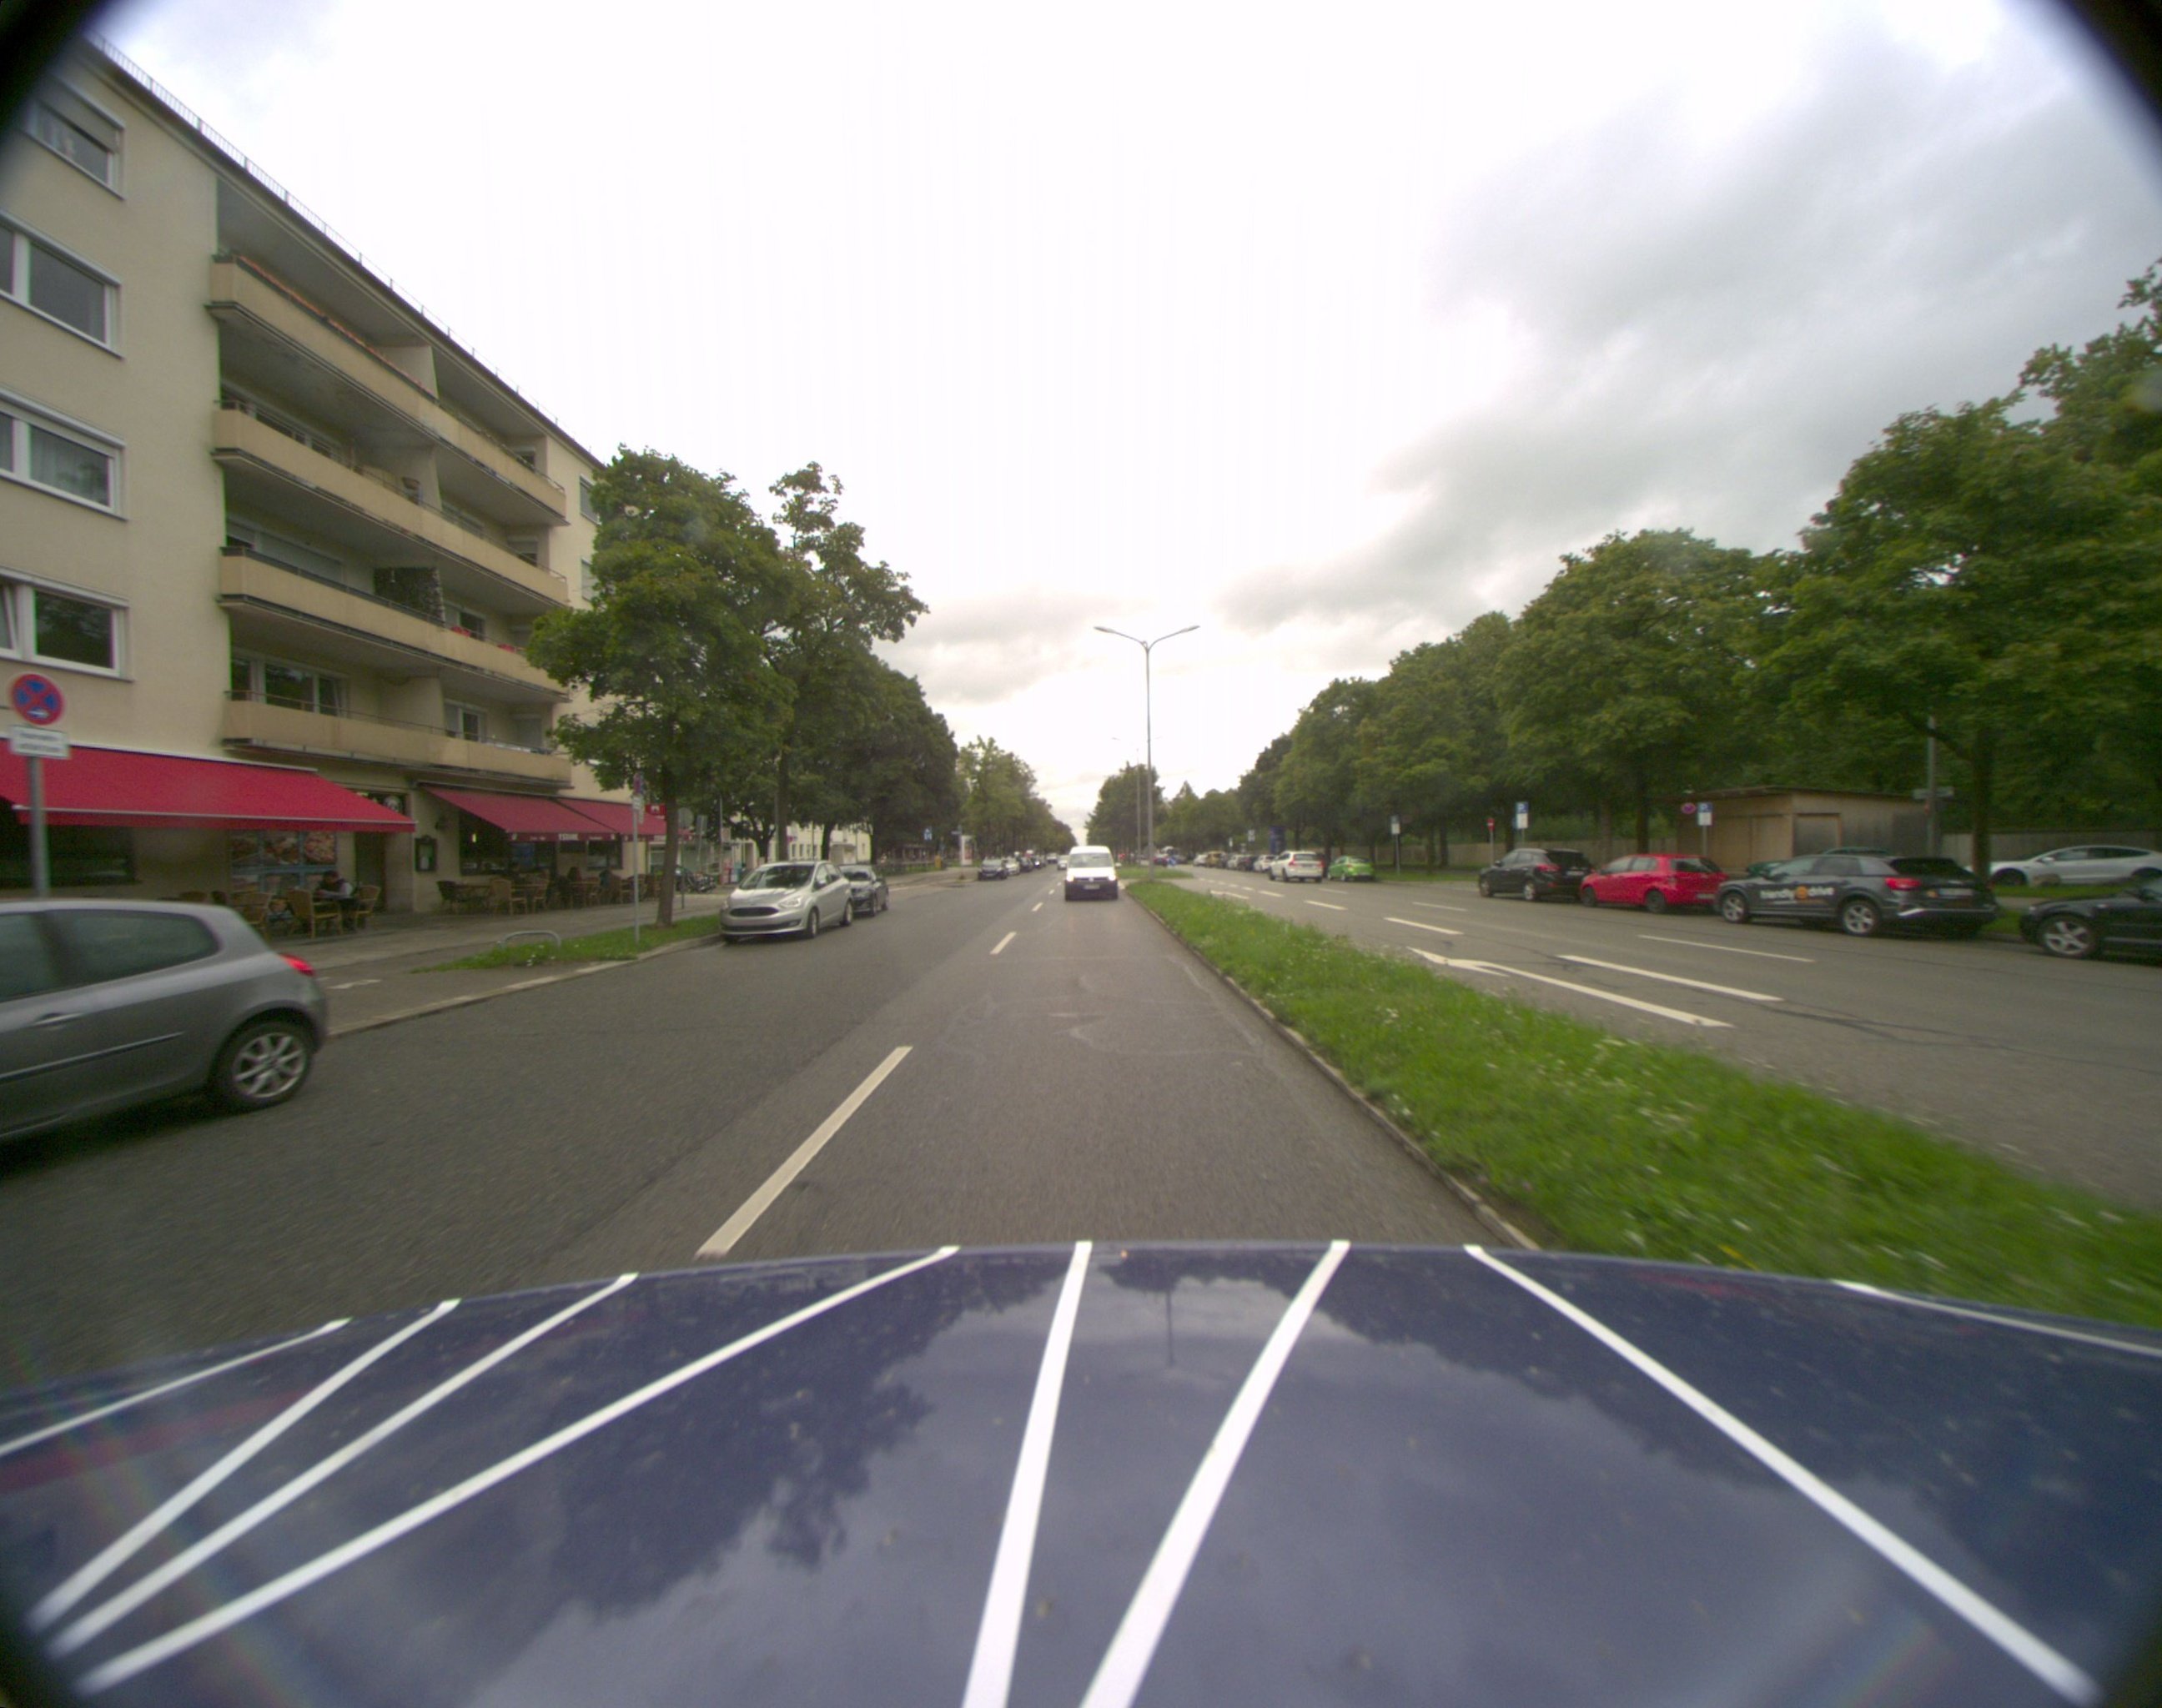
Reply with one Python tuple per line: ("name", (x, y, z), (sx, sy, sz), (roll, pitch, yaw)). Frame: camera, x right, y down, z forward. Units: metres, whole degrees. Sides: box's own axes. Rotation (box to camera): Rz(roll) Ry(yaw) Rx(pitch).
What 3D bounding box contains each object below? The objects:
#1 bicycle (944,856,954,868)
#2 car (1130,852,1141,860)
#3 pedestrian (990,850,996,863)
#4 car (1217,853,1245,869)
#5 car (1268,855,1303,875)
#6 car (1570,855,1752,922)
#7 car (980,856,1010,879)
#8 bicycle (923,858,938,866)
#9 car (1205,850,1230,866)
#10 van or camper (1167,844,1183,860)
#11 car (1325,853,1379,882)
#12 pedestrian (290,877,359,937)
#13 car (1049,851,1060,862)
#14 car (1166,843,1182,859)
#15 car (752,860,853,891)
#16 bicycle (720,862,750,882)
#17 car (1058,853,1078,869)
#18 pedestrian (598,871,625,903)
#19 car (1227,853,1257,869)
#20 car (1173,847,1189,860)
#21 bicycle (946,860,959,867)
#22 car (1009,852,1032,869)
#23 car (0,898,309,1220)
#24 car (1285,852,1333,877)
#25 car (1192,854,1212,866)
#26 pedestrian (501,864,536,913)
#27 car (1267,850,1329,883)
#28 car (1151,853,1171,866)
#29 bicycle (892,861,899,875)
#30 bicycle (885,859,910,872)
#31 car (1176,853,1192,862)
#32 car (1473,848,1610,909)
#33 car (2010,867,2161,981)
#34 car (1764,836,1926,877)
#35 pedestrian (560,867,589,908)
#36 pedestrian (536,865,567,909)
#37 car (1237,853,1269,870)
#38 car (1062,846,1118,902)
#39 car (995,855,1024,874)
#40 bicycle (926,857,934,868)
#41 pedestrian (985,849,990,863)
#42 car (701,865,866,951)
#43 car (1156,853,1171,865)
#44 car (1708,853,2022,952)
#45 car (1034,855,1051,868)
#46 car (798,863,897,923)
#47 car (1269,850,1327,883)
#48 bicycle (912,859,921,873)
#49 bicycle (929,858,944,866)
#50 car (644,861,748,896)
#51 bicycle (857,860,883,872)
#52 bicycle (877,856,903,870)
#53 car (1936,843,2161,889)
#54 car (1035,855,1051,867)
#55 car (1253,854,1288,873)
("bicycle", (-13.110, 0.782, 75.264), (0.545, 1.182, 2.076), (-1, 0, 1))
("car", (10.064, 0.360, 141.311), (1.826, 1.580, 4.501), (-1, 0, 1))
("pedestrian", (-11.340, 0.338, 97.735), (0.560, 1.595, 0.519), (-1, 1, -19))
("car", (15.484, 0.694, 78.812), (2.007, 1.607, 4.041), (0, 0, -2))
("car", (15.112, 0.778, 56.426), (1.654, 1.414, 3.687), (2, 0, 1))
("car", (14.894, 0.815, 19.808), (1.826, 1.471, 3.808), (-1, 1, -1))
("car", (-5.839, 0.879, 51.850), (1.648, 1.468, 3.956), (-2, 0, -1))
("bicycle", (-16.335, 0.867, 82.457), (1.599, 0.910, 0.498), (-1, 1, -4))
("car", (15.244, 0.406, 84.883), (1.862, 1.761, 4.533), (0, 0, -2))
("van or camper", (16.649, -0.286, 135.123), (1.999, 2.791, 4.931), (0, 0, -2))
("car", (14.945, 0.724, 42.100), (1.644, 1.490, 4.000), (1, 0, 2))
("pedestrian", (-15.180, 1.054, 15.259), (0.745, 1.156, 0.646), (1, 1, 0))
("car", (-4.959, 0.530, 140.864), (1.827, 1.939, 4.300), (-1, 0, 1))
("car", (15.821, -0.475, 129.006), (1.999, 2.576, 4.499), (0, 0, -2))
("car", (-13.726, 1.047, 37.613), (4.215, 1.434, 2.001), (-1, 0, 10))
("bicycle", (-20.639, 1.073, 45.365), (1.473, 1.149, 0.699), (-1, 1, -1))
("car", (-1.320, 0.735, 79.385), (1.984, 1.591, 4.402), (1, 0, 1))
("pedestrian", (-15.464, 1.084, 25.029), (0.539, 1.048, 0.487), (-1, 1, 1))
("car", (15.290, 0.674, 72.347), (1.826, 1.461, 4.300), (0, 0, -2))
("car", (15.929, -0.044, 121.473), (1.998, 2.002, 4.000), (-1, 0, 0))
("bicycle", (-15.171, 1.133, 89.576), (1.392, 0.709, 0.498), (1, 1, -4))
("car", (-5.721, 0.564, 72.411), (1.826, 1.502, 4.157), (-1, 0, 0))
("car", (-6.319, 1.087, 3.413), (1.834, 1.513, 3.770), (-1, 0, -1))
("car", (15.088, 0.659, 50.517), (1.826, 1.621, 4.456), (0, 0, 0))
("car", (15.227, 0.754, 95.524), (1.717, 1.434, 4.041), (0, 0, -2))
("pedestrian", (-15.741, 0.954, 21.262), (0.539, 1.331, 0.552), (-1, 1, 0))
("car", (11.468, 0.619, 40.479), (2.030, 1.610, 4.683), (0, 0, 1))
("car", (9.279, 0.655, 88.427), (1.820, 1.440, 4.781), (0, 0, 0))
("bicycle", (-13.467, 0.988, 55.021), (0.449, 1.009, 1.850), (-1, 0, -15))
("bicycle", (-16.188, 0.983, 66.907), (2.032, 1.061, 0.663), (-1, 1, -4))
("car", (15.777, 0.566, 116.682), (1.717, 1.401, 4.041), (0, 0, -2))
("car", (14.655, 0.706, 24.512), (1.826, 1.690, 4.238), (-1, 1, -1))
("car", (14.509, 0.909, 9.139), (1.825, 1.401, 4.000), (1, 0, 3))
("car", (27.797, 0.103, 27.847), (3.848, 1.401, 1.863), (-1, 0, 31))
("pedestrian", (-15.648, 1.029, 23.469), (0.539, 1.207, 0.487), (-1, 1, 1))
("pedestrian", (-15.654, 0.973, 22.480), (0.539, 1.261, 0.487), (-1, 1, 0))
("car", (15.175, 0.632, 67.151), (1.826, 1.438, 3.787), (2, 0, -2))
("car", (0.303, 0.650, 27.391), (1.772, 1.742, 4.545), (-3, 0, 0))
("car", (-5.851, 0.833, 62.352), (1.826, 1.428, 4.287), (-3, 0, 1))
("bicycle", (-15.227, 0.830, 76.488), (0.466, 1.110, 1.253), (-1, 1, 1))
("pedestrian", (-11.997, 0.225, 97.614), (0.560, 1.745, 0.656), (-1, 1, -19))
("car", (-6.253, 1.049, 16.599), (1.834, 1.513, 4.523), (-1, 0, -1))
("car", (11.851, 0.701, 109.259), (1.826, 1.544, 3.721), (-1, 0, 2))
("car", (14.522, 0.790, 14.487), (1.826, 1.590, 4.113), (-1, 0, 2))
("car", (-4.481, 0.853, 88.722), (1.827, 1.371, 4.300), (-1, 0, -1))
("car", (-6.515, 1.024, 21.642), (1.834, 1.464, 3.886), (-1, 0, -4))
("car", (11.432, 0.611, 40.311), (1.855, 1.591, 4.402), (1, 0, 1))
("bicycle", (-13.188, 0.939, 60.922), (0.470, 1.049, 1.767), (1, 1, -4))
("bicycle", (-16.123, 0.889, 84.735), (1.599, 0.910, 0.498), (0, 1, -4))
("car", (-17.958, 1.119, 35.580), (3.935, 1.511, 1.730), (-1, 1, -1))
("bicycle", (-18.509, 1.060, 66.692), (2.032, 1.061, 0.663), (-1, 1, -4))
("bicycle", (-16.039, 0.752, 63.883), (2.032, 1.061, 0.663), (-1, 1, -4))
("car", (32.075, 0.385, 25.309), (4.456, 1.401, 1.863), (-1, 1, 33))
("car", (-5.133, 0.942, 103.239), (1.827, 1.460, 4.300), (-1, 0, 1))
("car", (15.265, 0.749, 61.429), (1.826, 1.468, 4.260), (2, 0, 1))
